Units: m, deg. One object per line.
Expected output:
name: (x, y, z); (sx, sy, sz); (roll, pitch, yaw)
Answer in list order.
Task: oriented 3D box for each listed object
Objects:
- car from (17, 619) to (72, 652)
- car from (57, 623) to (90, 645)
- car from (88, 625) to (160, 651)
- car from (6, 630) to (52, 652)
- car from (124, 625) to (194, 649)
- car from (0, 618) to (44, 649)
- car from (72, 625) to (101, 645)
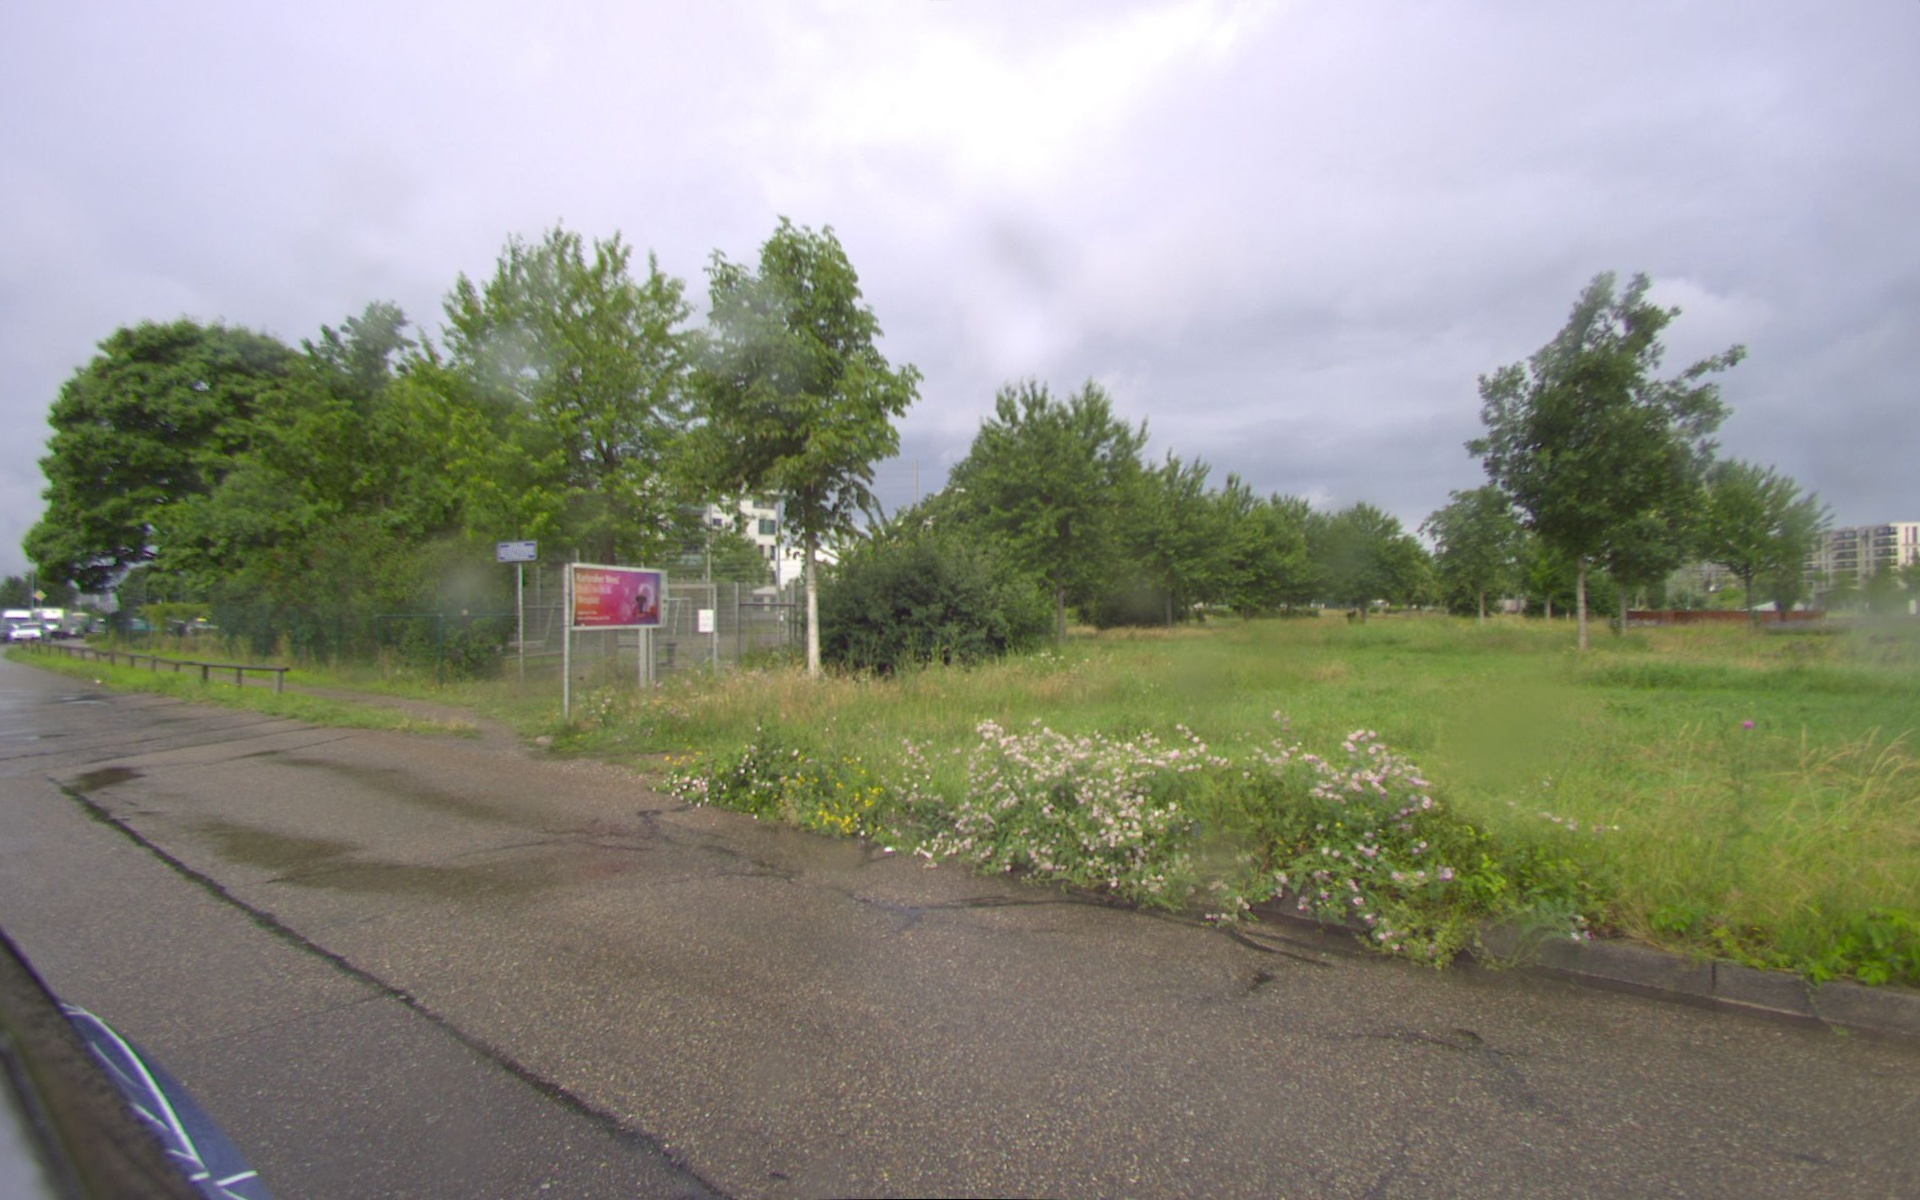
car: (-85.434, 3.290, 94.589); (2.436, 2.978, 6.906); (1, -2, -31)
car: (-92.565, 3.514, 105.699); (1.966, 2.258, 4.575); (0, -2, -33)
car: (-60.443, 2.722, 73.228); (3.758, 1.645, 1.760); (-3, 1, -31)
car: (-69.474, 3.017, 75.555); (1.812, 1.530, 4.369); (0, -2, -33)
car: (-62.311, 2.845, 78.794); (4.117, 1.561, 1.864); (-3, 1, -34)
car: (-80.367, 2.889, 86.336); (2.040, 2.548, 6.676); (2, -3, -32)
car: (-101.521, 4.021, 117.623); (1.966, 2.258, 4.575); (0, -2, -33)
